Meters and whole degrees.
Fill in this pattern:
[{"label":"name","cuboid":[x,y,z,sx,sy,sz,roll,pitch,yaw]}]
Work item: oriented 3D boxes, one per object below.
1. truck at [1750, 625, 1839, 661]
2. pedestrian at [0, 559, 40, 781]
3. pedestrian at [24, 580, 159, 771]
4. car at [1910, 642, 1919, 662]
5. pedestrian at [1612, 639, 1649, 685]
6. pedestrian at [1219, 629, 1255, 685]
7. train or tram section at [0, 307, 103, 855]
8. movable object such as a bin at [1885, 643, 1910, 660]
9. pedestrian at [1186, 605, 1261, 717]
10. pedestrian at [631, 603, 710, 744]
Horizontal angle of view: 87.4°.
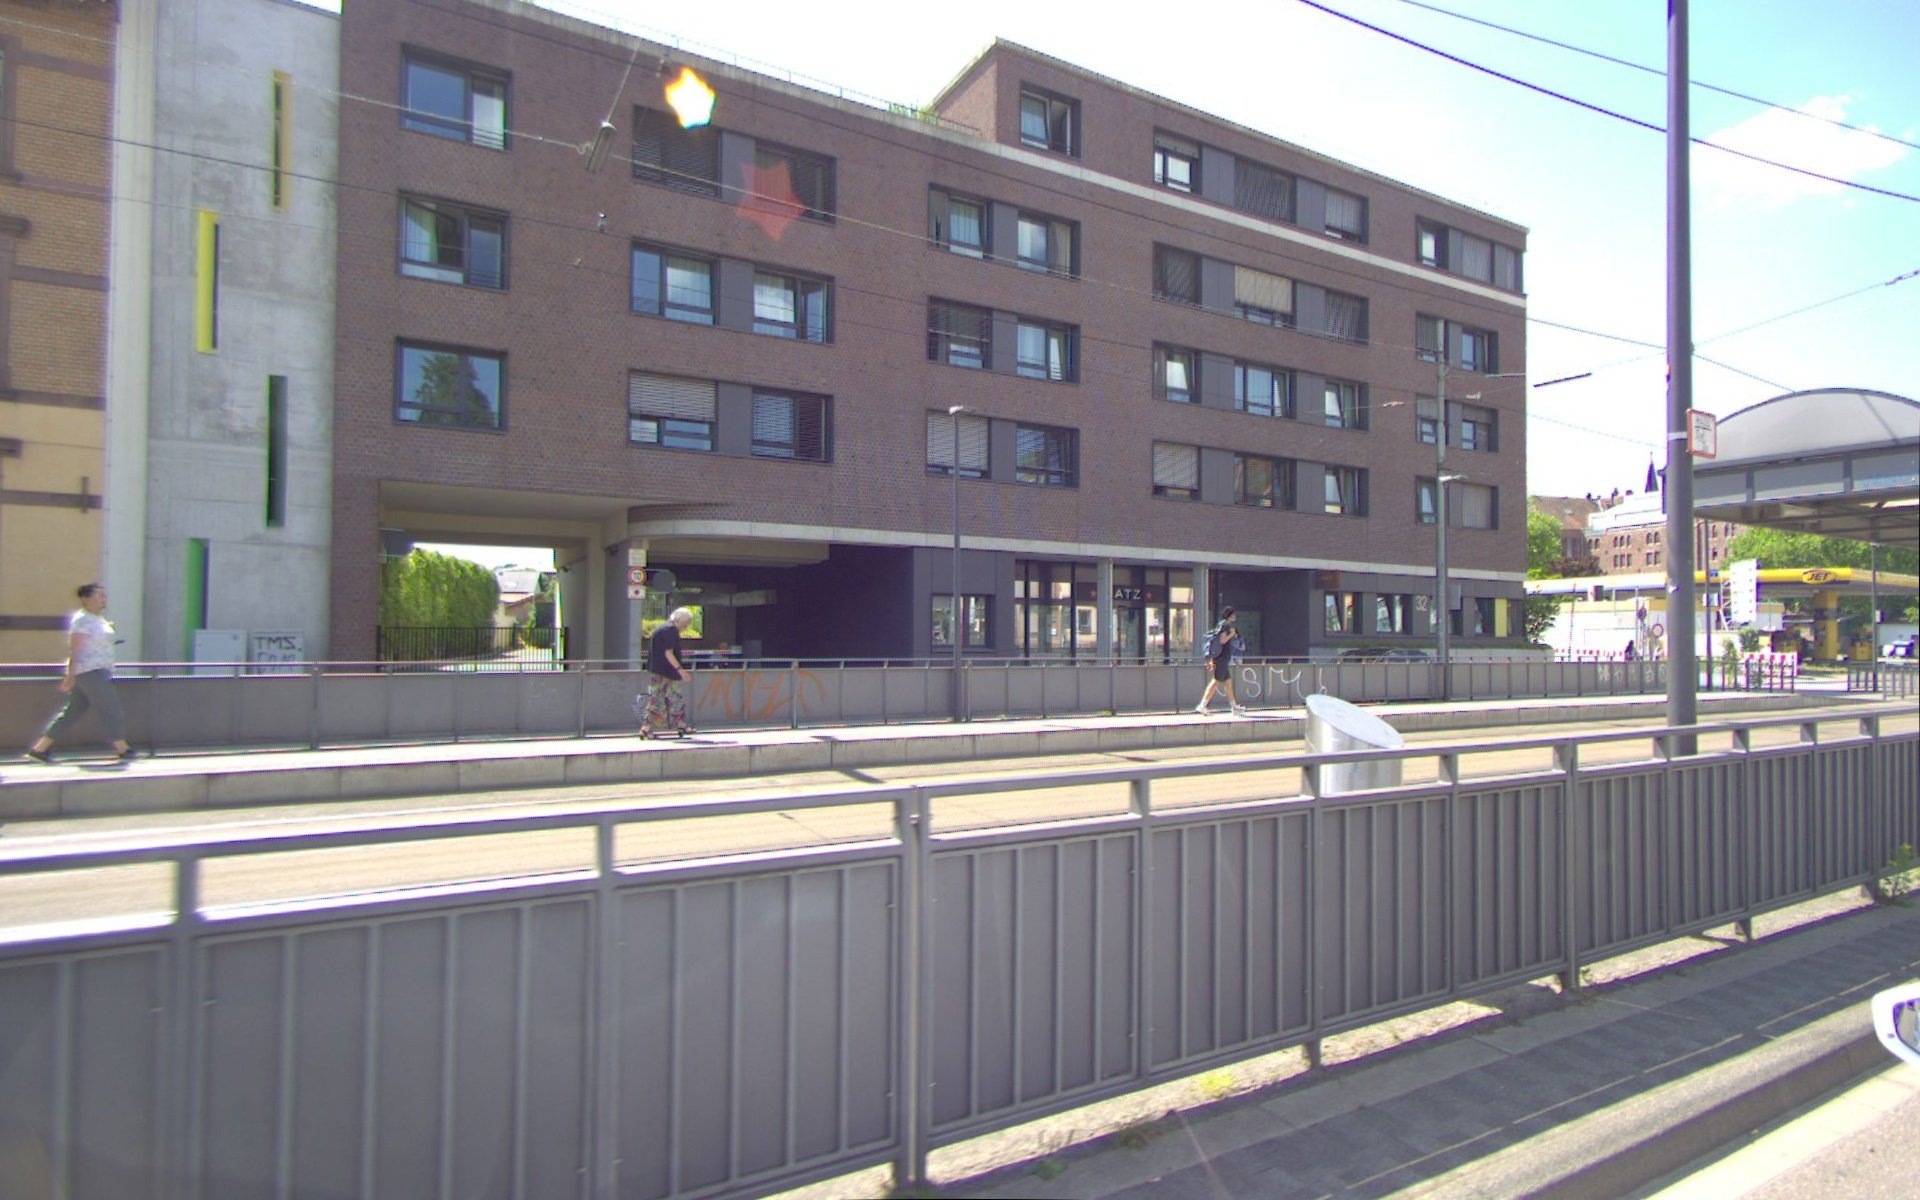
[{"label":"truck","cuboid":[60.520,3.116,72.900,5.106,2.531,1.998,1,-2,-7]},{"label":"pedestrian","cuboid":[-8.458,0.579,8.396,0.941,1.822,0.756,2,-3,-31]},{"label":"pedestrian","cuboid":[-8.269,0.702,9.607,0.799,1.717,0.756,2,-3,-30]},{"label":"car","cuboid":[80.444,4.249,81.713,4.245,1.611,2.002,0,-2,7]},{"label":"pedestrian","cuboid":[24.986,2.309,37.447,0.990,1.617,0.755,2,2,-35]},{"label":"pedestrian","cuboid":[8.181,1.668,29.680,0.752,1.617,0.682,2,-3,-30]},{"label":"train or tram section","cuboid":[-13.697,-0.318,3.238,16.156,3.614,3.220,2,-3,-30]},{"label":"movable object such as a bin","cuboid":[78.679,4.309,84.321,0.748,1.372,1.340,1,-2,-25]},{"label":"pedestrian","cuboid":[4.354,0.996,16.585,1.022,1.783,0.682,2,-3,-31]},{"label":"pedestrian","cuboid":[-3.467,0.863,12.022,0.752,1.617,0.682,2,-3,-30]}]
